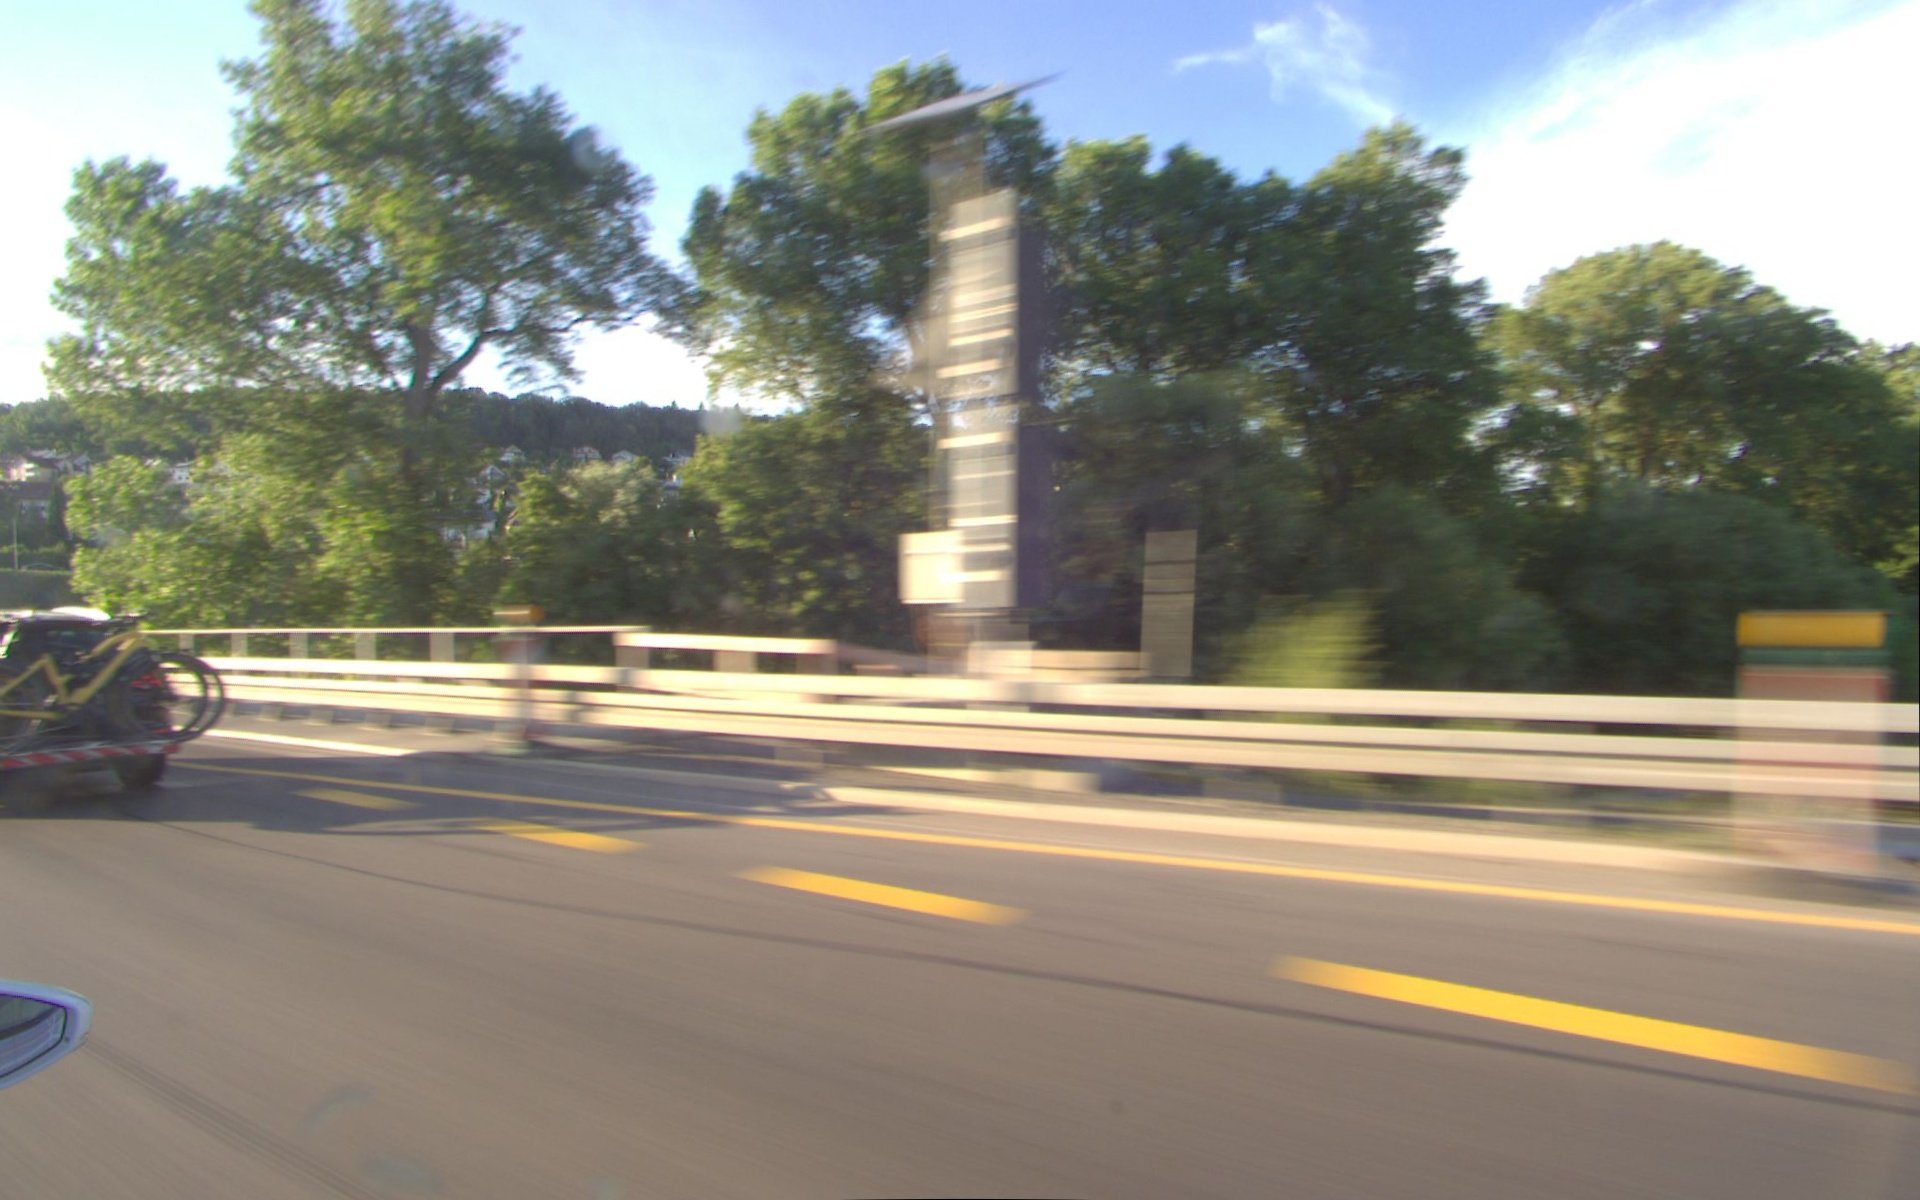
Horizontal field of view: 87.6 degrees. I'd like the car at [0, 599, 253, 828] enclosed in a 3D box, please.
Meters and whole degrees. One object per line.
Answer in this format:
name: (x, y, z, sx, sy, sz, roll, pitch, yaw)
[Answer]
car: (-8.546, 0.815, 8.916, 4.892, 1.620, 1.872, 0, 0, 31)
